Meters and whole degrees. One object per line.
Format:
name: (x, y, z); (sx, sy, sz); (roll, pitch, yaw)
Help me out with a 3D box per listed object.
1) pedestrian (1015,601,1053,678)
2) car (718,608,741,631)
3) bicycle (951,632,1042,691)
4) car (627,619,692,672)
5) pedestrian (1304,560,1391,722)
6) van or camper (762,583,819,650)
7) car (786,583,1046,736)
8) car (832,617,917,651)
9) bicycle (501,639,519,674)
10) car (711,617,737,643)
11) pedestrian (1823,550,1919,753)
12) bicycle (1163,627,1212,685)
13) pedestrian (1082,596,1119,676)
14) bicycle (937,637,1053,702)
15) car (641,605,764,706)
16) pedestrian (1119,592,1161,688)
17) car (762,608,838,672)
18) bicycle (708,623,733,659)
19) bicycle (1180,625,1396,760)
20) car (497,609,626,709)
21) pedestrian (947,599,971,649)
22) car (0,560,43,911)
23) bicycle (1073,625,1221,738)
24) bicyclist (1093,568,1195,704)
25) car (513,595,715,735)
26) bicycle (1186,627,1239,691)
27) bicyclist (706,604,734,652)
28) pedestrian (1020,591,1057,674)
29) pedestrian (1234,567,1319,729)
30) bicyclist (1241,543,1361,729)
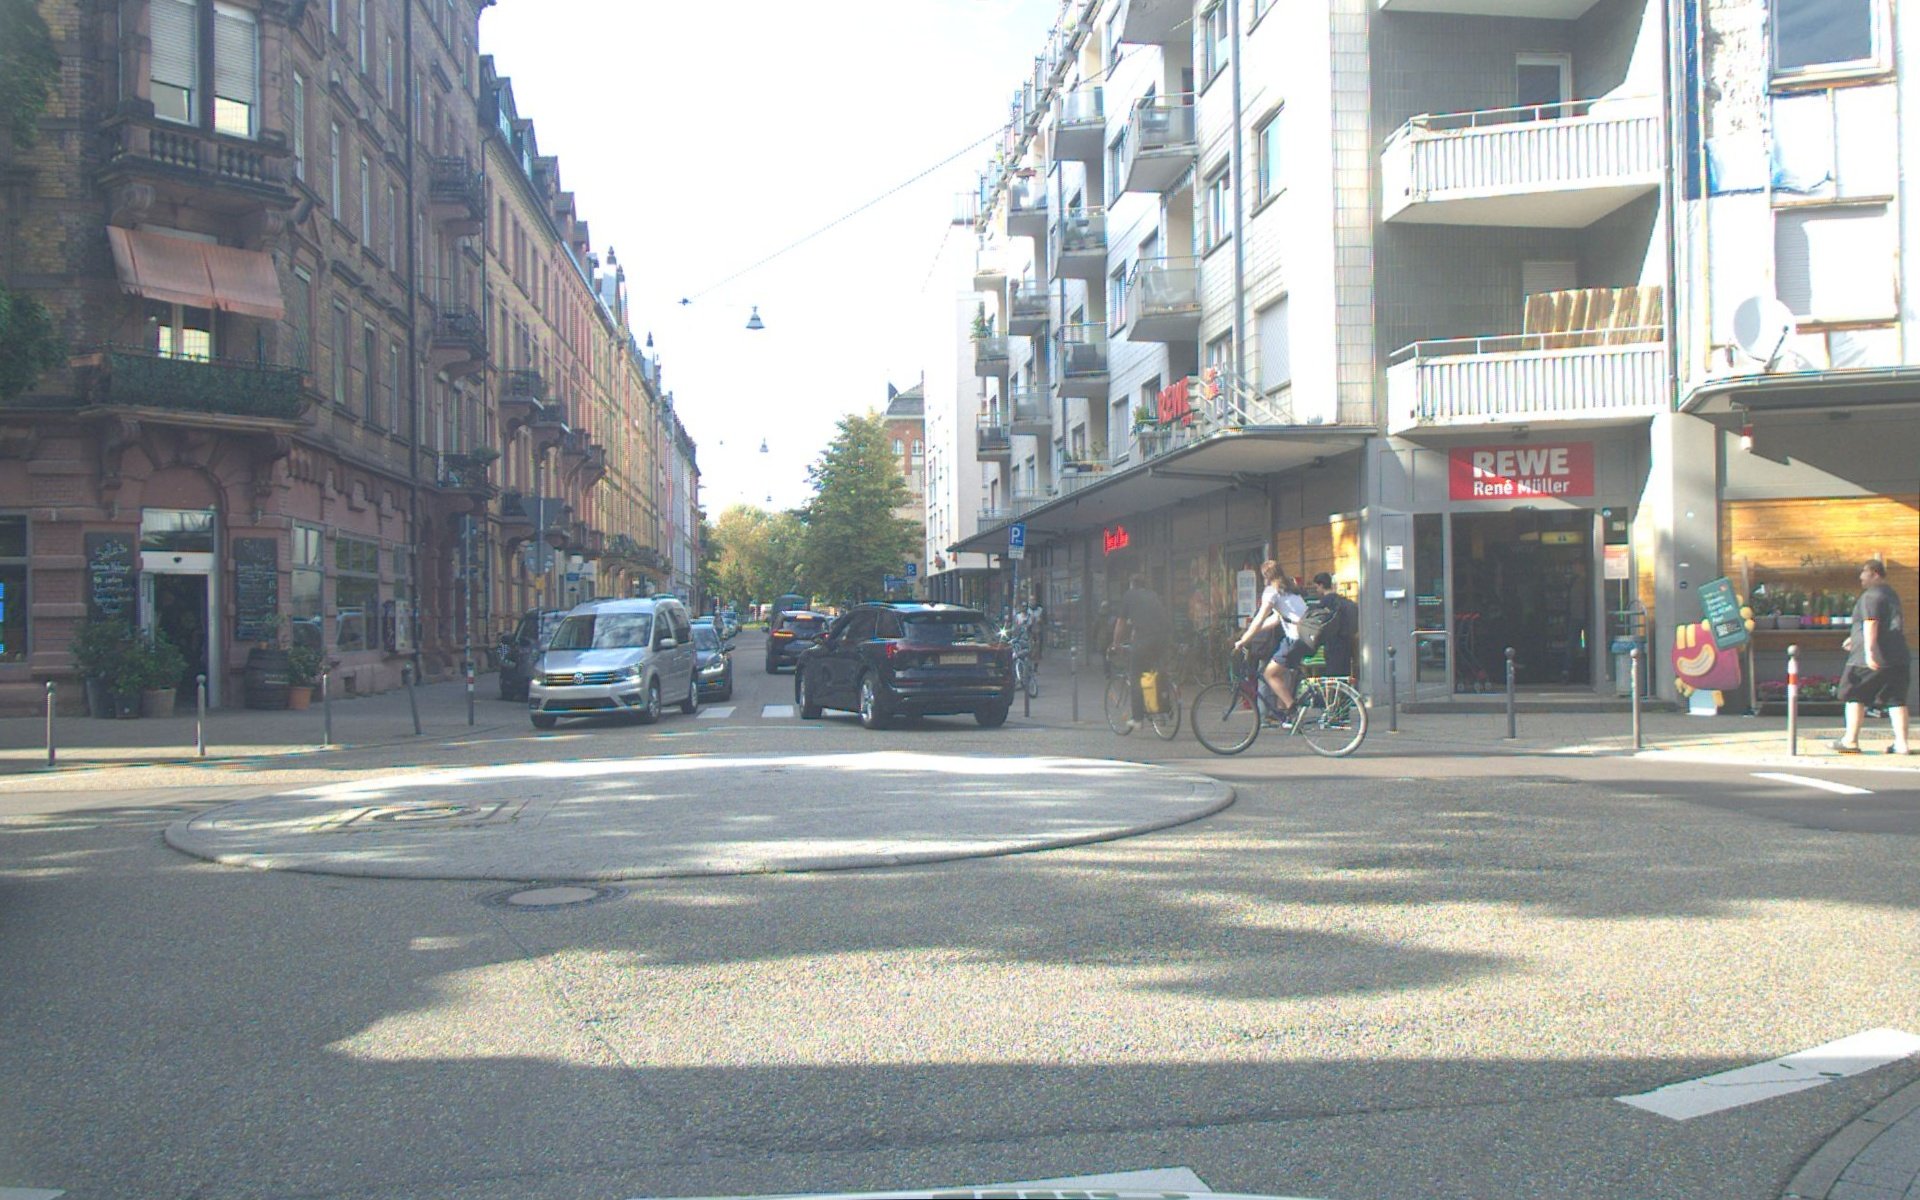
pedestrian: (1.609, 0.847, 36.039); (0.715, 1.639, 0.791); (-1, -1, 9)
car: (-21.233, 1.772, 152.310); (1.956, 2.049, 3.994); (-1, 0, -7)
bicycle: (0.706, 1.168, 31.565); (1.777, 1.045, 0.670); (-1, -1, -45)
car: (-11.506, 1.730, 63.620); (1.890, 1.754, 4.284); (-2, 1, -4)
pedestrian: (4.641, 0.485, 19.833); (0.851, 1.883, 0.612); (-1, -1, -1)
van or camper: (-8.238, 0.805, 80.067); (2.484, 3.090, 4.450); (-1, 0, -8)
car: (-0.747, 0.705, 22.581); (2.007, 1.754, 4.815); (-3, 1, -21)
car: (-4.158, 1.617, 80.084); (3.913, 1.512, 1.996); (-2, 0, -9)
bicycle: (-12.969, 1.623, 47.704); (0.353, 0.963, 1.711); (0, -1, -11)
car: (-18.987, 2.404, 133.314); (1.956, 2.049, 3.994); (-1, 0, -7)
pedestrian: (8.272, 0.450, 14.890); (0.615, 1.769, 0.776); (-1, -1, 6)
bicycle: (4.187, 1.018, 30.493); (0.353, 1.016, 1.711); (-1, 0, -10)
pedestrian: (2.950, 0.750, 34.706); (0.729, 1.657, 0.813); (-1, -1, 5)
bicycle: (0.608, 1.217, 28.998); (1.961, 1.063, 0.531); (-1, -1, -4)
car: (-4.987, 1.029, 32.575); (1.890, 1.755, 4.732); (-2, 0, -4)
pedestrian: (3.331, 0.732, 30.685); (0.725, 1.742, 0.734); (-1, -1, 5)
car: (-4.454, 1.074, 45.760); (1.955, 1.646, 3.994); (-1, 0, -7)
bicycle: (-10.427, 1.748, 71.810); (0.909, 1.515, 3.455); (1, -1, -10)
bicycle: (3.126, 0.870, 15.761); (1.927, 1.220, 0.712); (-1, -1, 18)
car: (-7.877, 1.122, 33.089); (1.747, 1.754, 4.442); (0, 1, -4)
pedestrian: (-0.040, 0.978, 68.594); (0.883, 2.049, 0.734); (-1, -1, -6)
car: (-5.294, 0.719, 6.802); (1.915, 1.752, 4.819); (-3, 1, -21)
bicycle: (2.085, 0.885, 18.851); (0.656, 1.199, 2.482); (1, -1, -20)
bicyclist: (2.085, 0.404, 18.786); (0.920, 1.510, 0.743); (1, -1, -20)
car: (-5.023, 0.885, 24.689); (1.755, 1.822, 4.737); (-2, 0, 3)
bicycle: (4.287, 0.989, 28.134); (0.356, 1.034, 1.426); (-1, -1, -14)
bicyclist: (-10.422, 1.209, 71.763); (1.112, 2.033, 1.025); (1, -1, -11)
pedestrian: (1.831, 0.745, 38.405); (0.715, 1.897, 1.063); (-1, -1, 9)
pedestrian: (3.784, 0.568, 19.816); (0.851, 1.883, 0.612); (-1, -1, -1)
bicyclist: (3.249, 0.343, 15.710); (0.991, 1.697, 0.944); (-1, -1, 18)
